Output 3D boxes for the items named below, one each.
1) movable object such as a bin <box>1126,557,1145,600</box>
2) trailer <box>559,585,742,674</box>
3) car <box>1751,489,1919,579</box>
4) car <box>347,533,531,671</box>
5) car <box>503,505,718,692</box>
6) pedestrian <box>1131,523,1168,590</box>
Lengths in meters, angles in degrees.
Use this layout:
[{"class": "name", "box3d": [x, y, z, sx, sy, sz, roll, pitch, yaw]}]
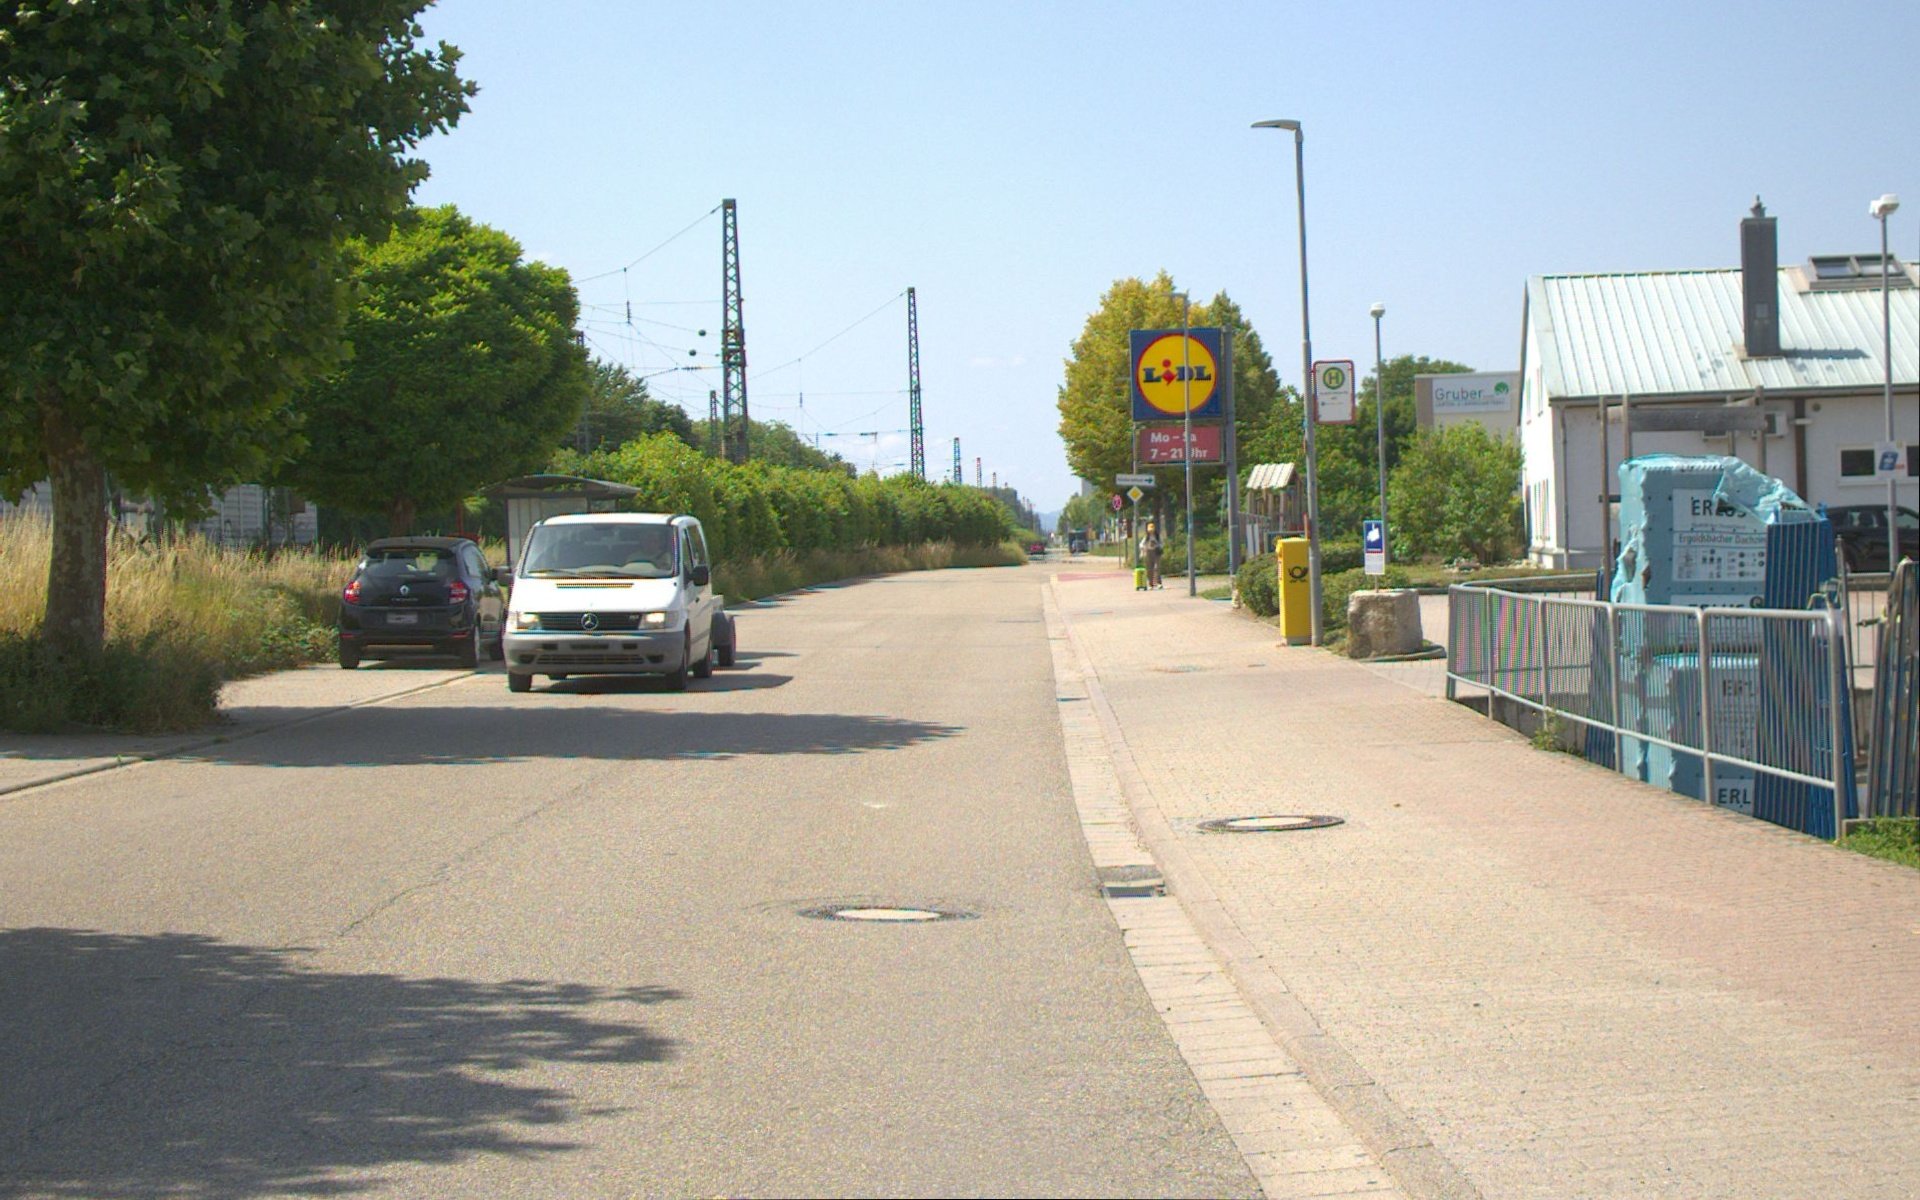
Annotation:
[{"class": "movable object such as a bin", "box3d": [4.242, -0.515, 83.169, 0.374, 1.026, 0.499, -2, 1, -3]}, {"class": "trailer", "box3d": [-3.668, 0.330, 41.369, 1.818, 0.847, 4.223, -2, 2, 0]}, {"class": "car", "box3d": [16.274, -1.188, 60.739, 3.986, 1.489, 2.001, -2, 1, -15]}, {"class": "car", "box3d": [-6.343, -0.013, 42.172, 1.741, 1.590, 3.580, -1, 1, -1]}, {"class": "car", "box3d": [-3.683, -0.046, 36.949, 1.838, 1.852, 4.484, -1, 1, 0]}, {"class": "pedestrian", "box3d": [4.612, -1.069, 83.705, 0.761, 1.596, 1.210, -2, 1, -1]}]
